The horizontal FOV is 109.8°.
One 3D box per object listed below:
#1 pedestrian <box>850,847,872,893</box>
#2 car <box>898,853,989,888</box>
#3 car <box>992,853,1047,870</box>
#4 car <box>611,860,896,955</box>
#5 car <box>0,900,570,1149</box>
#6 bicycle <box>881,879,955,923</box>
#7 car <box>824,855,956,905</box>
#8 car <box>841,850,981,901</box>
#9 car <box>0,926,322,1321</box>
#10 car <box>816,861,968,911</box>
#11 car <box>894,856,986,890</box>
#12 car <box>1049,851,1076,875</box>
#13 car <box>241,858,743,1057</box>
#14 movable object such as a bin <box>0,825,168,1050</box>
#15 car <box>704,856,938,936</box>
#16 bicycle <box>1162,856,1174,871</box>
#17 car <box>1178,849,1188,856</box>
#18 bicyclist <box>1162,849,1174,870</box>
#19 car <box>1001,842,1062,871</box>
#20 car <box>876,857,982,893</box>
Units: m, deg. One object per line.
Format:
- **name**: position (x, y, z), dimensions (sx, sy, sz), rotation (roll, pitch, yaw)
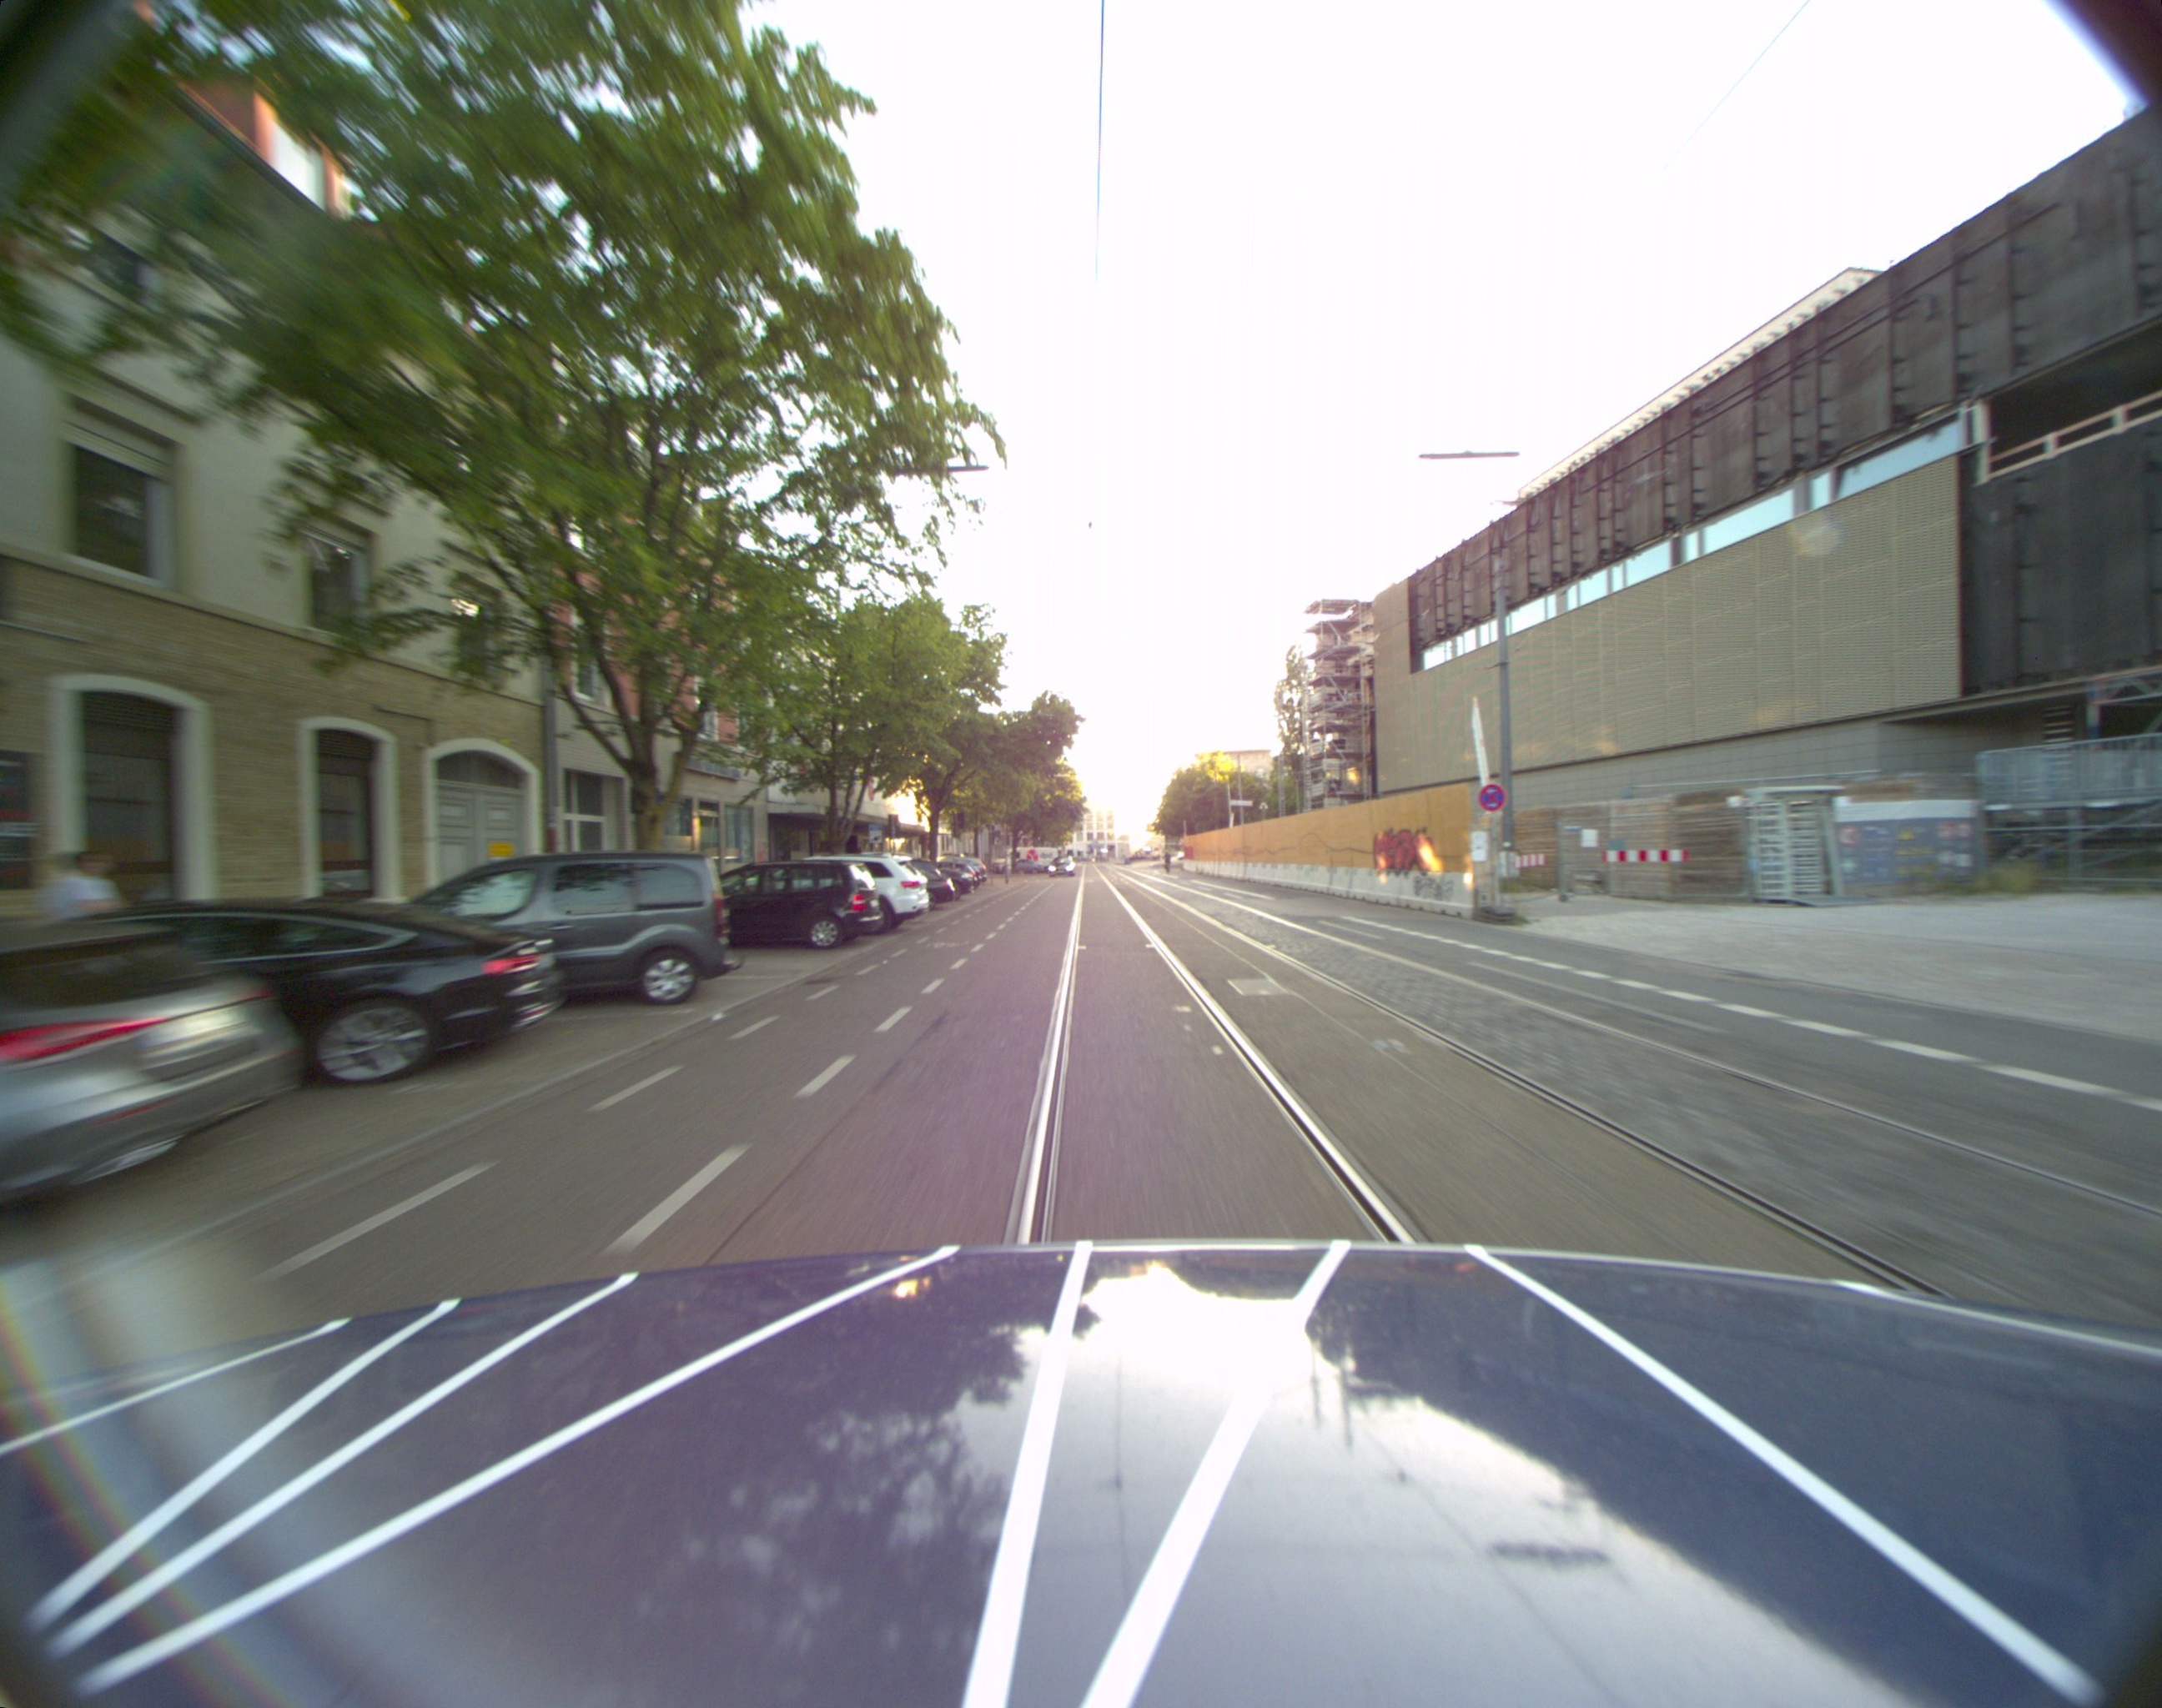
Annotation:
- **pedestrian**: position (-9.511, 0.692, 32.925), dimensions (0.693, 1.974, 0.786), rotation (1, 1, 0)
- **car**: position (-6.990, 0.840, 38.800), dimensions (4.176, 1.654, 1.837), rotation (1, 0, -34)
- **car**: position (-5.616, 0.709, 69.097), dimensions (4.614, 1.504, 1.859), rotation (1, -1, -26)
- **car**: position (-6.155, 0.985, 14.789), dimensions (4.662, 1.678, 2.007), rotation (1, 0, -5)
- **car**: position (-6.548, 1.121, 5.730), dimensions (4.331, 1.381, 1.802), rotation (1, 0, -29)
- **bicycle**: position (-4.215, 1.211, 19.672), dimensions (1.842, 1.096, 0.497), rotation (1, 0, -13)
- **car**: position (-6.616, 0.889, 26.305), dimensions (4.229, 1.639, 1.973), rotation (1, 0, -18)
- **car**: position (-6.480, 0.795, 28.906), dimensions (4.984, 1.816, 2.204), rotation (1, 0, -18)
- **car**: position (-6.131, 1.143, 3.187), dimensions (3.789, 1.399, 1.703), rotation (0, 0, -21)
- **car**: position (-5.911, 0.995, 23.767), dimensions (4.233, 1.418, 1.971), rotation (2, 0, -27)
- **car**: position (-6.703, 0.898, 36.101), dimensions (3.901, 1.493, 1.809), rotation (1, 0, -30)
- **car**: position (-1.396, 0.678, 58.647), dimensions (1.840, 1.631, 4.169), rotation (-5, 0, 1)
- **car**: position (-6.239, 0.948, 8.761), dimensions (4.167, 1.796, 2.003), rotation (0, 0, -28)
- **movable object such as a bin**: position (-9.395, 0.751, 7.167), dimensions (0.614, 2.002, 0.695), rotation (-2, 1, -1)
- **car**: position (-5.822, 0.916, 17.444), dimensions (4.660, 1.678, 2.008), rotation (1, 0, 0)
- **bicycle**: position (7.050, 0.766, 61.472), dimensions (0.770, 1.221, 1.936), rotation (-1, 0, 0)
- **car**: position (25.271, -0.383, 188.059), dimensions (1.997, 1.674, 4.003), rotation (-2, 0, 10)
- **bicyclist**: position (7.031, 0.440, 61.417), dimensions (0.770, 1.656, 1.018), rotation (-1, 0, 0)
- **car**: position (-4.921, 0.216, 75.617), dimensions (5.650, 2.678, 2.166), rotation (-1, 0, -34)
- **car**: position (-6.650, 0.917, 33.345), dimensions (4.174, 1.456, 1.967), rotation (1, 0, -27)
